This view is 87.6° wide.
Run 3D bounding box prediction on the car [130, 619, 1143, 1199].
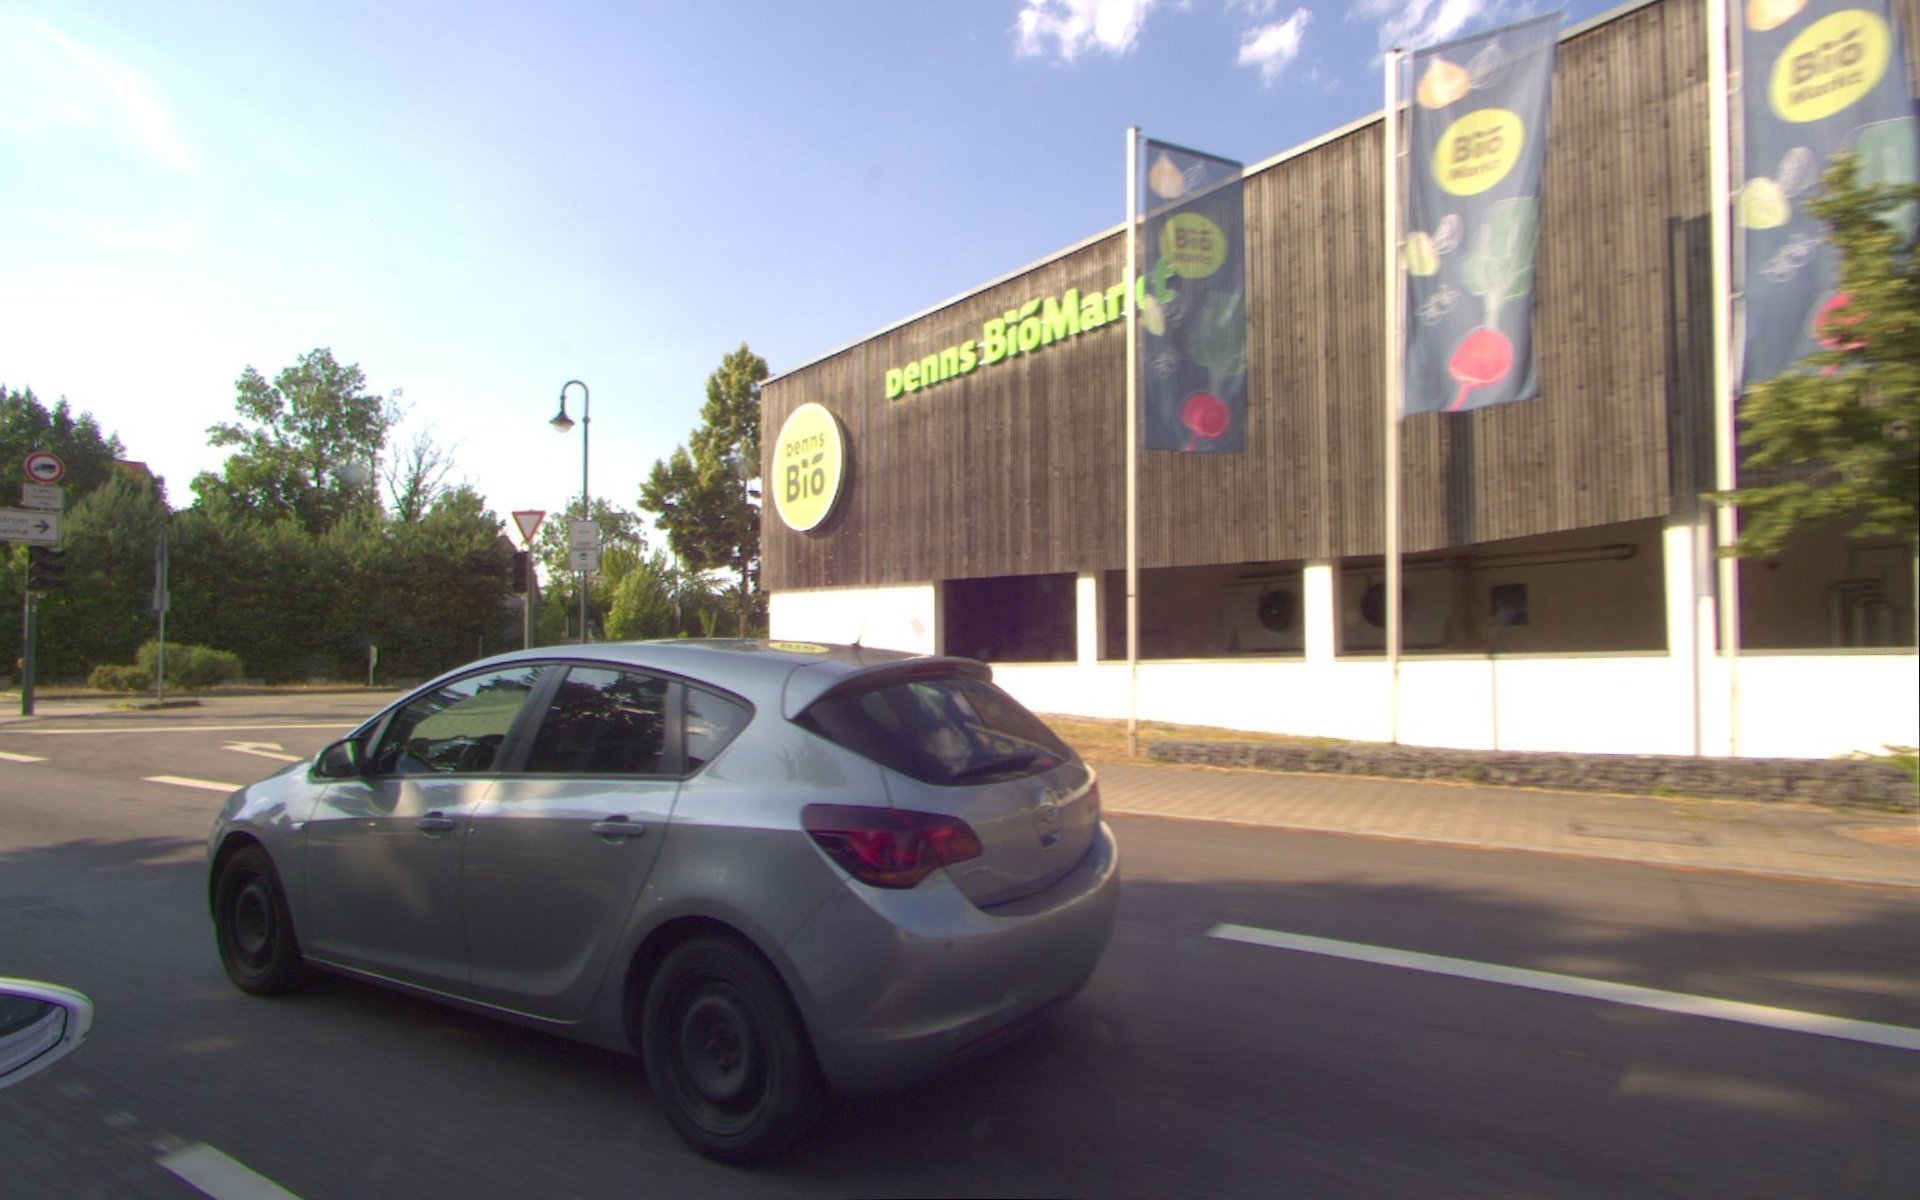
[{"bbox_3d":[-1.539,0.854,4.239,4.243,1.509,1.719,-1,-2,31],"label":"car"}]
